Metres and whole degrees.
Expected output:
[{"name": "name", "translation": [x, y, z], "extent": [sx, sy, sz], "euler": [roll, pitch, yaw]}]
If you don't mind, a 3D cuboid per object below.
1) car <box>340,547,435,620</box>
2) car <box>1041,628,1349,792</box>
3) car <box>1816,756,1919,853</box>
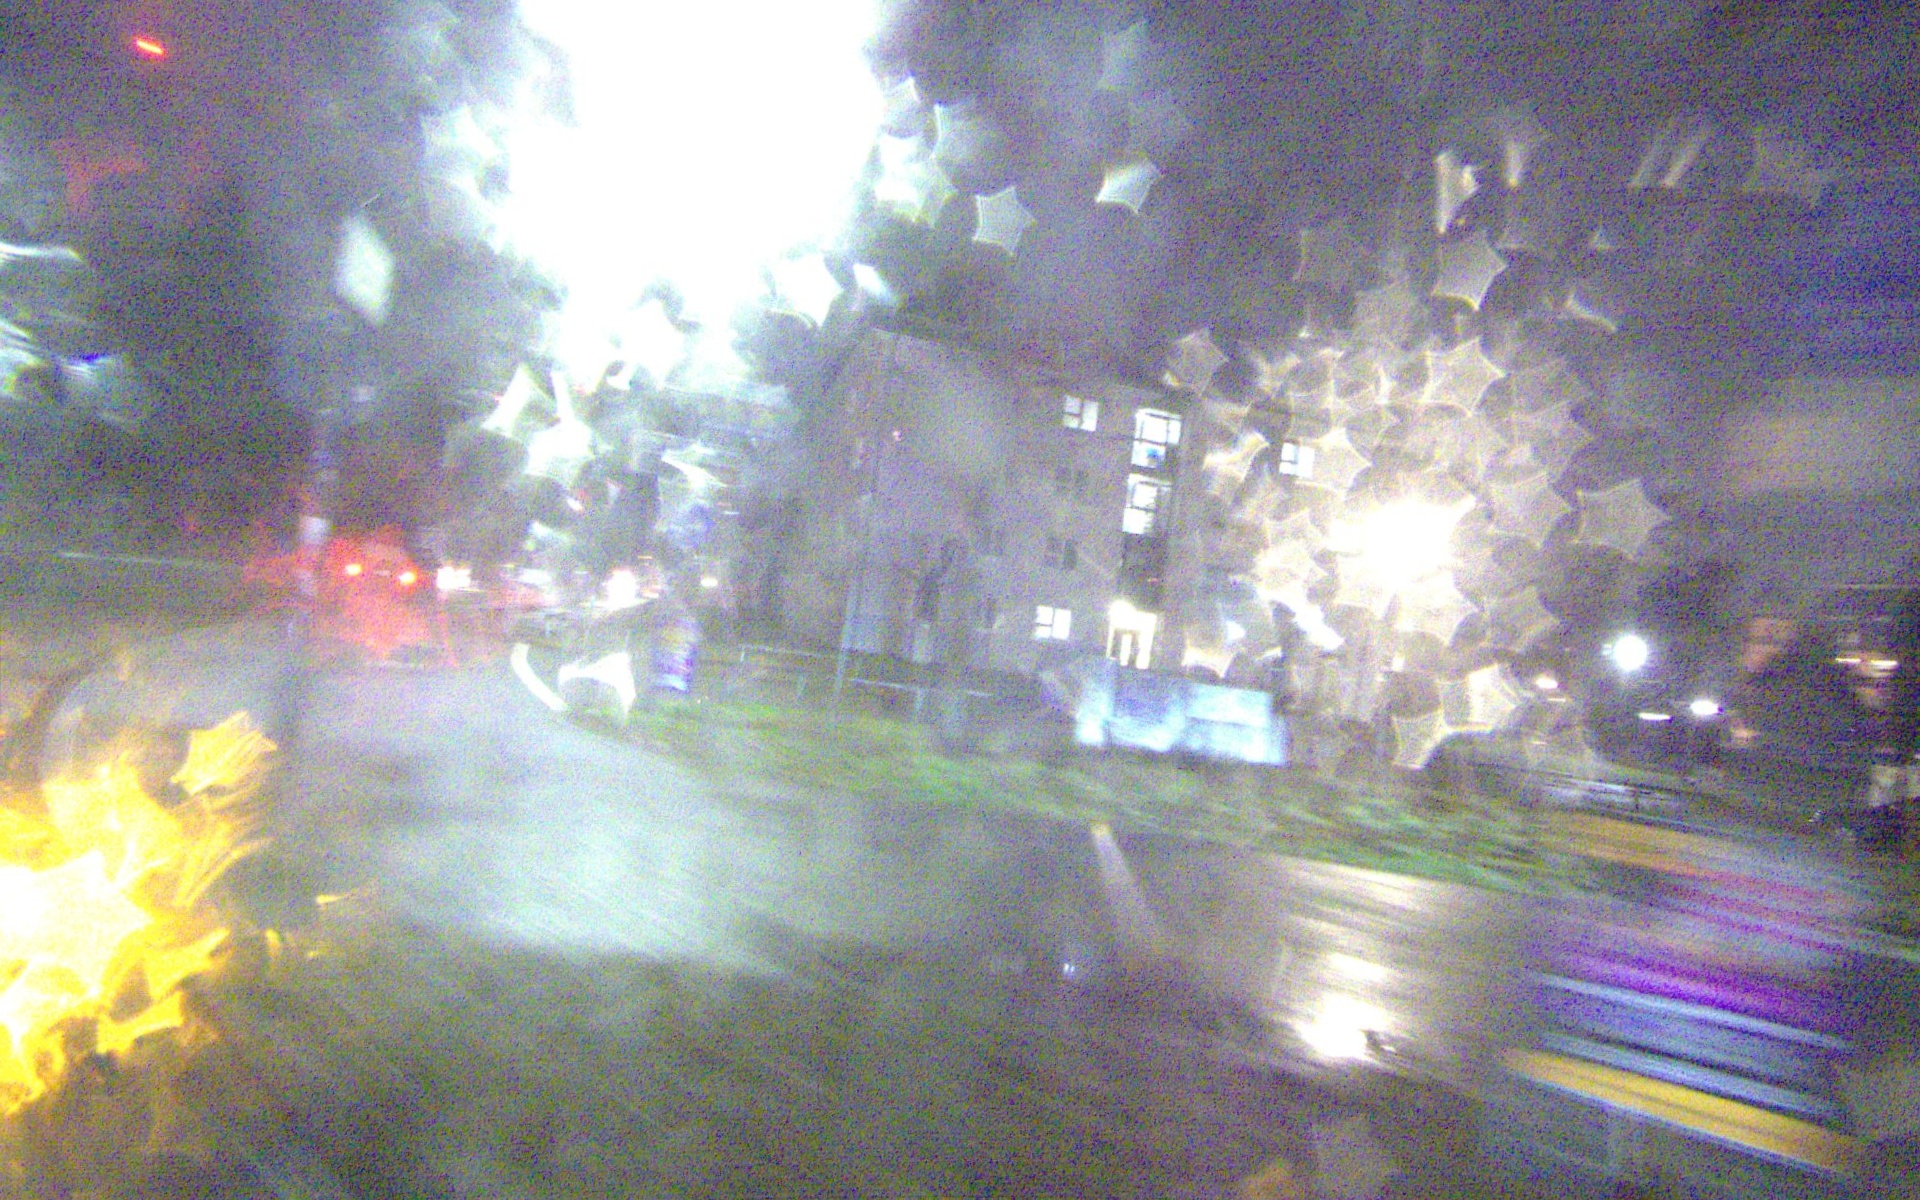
[{"name": "car", "translation": [-19.449, -0.560, 34.393], "extent": [1.975, 2.036, 4.535], "euler": [10, -2, -22]}, {"name": "car", "translation": [3.444, 1.603, 15.187], "extent": [3.933, 1.702, 1.917], "euler": [10, -2, -7]}, {"name": "car", "translation": [18.380, 3.988, 18.276], "extent": [1.697, 1.513, 3.900], "euler": [10, -2, -16]}]
